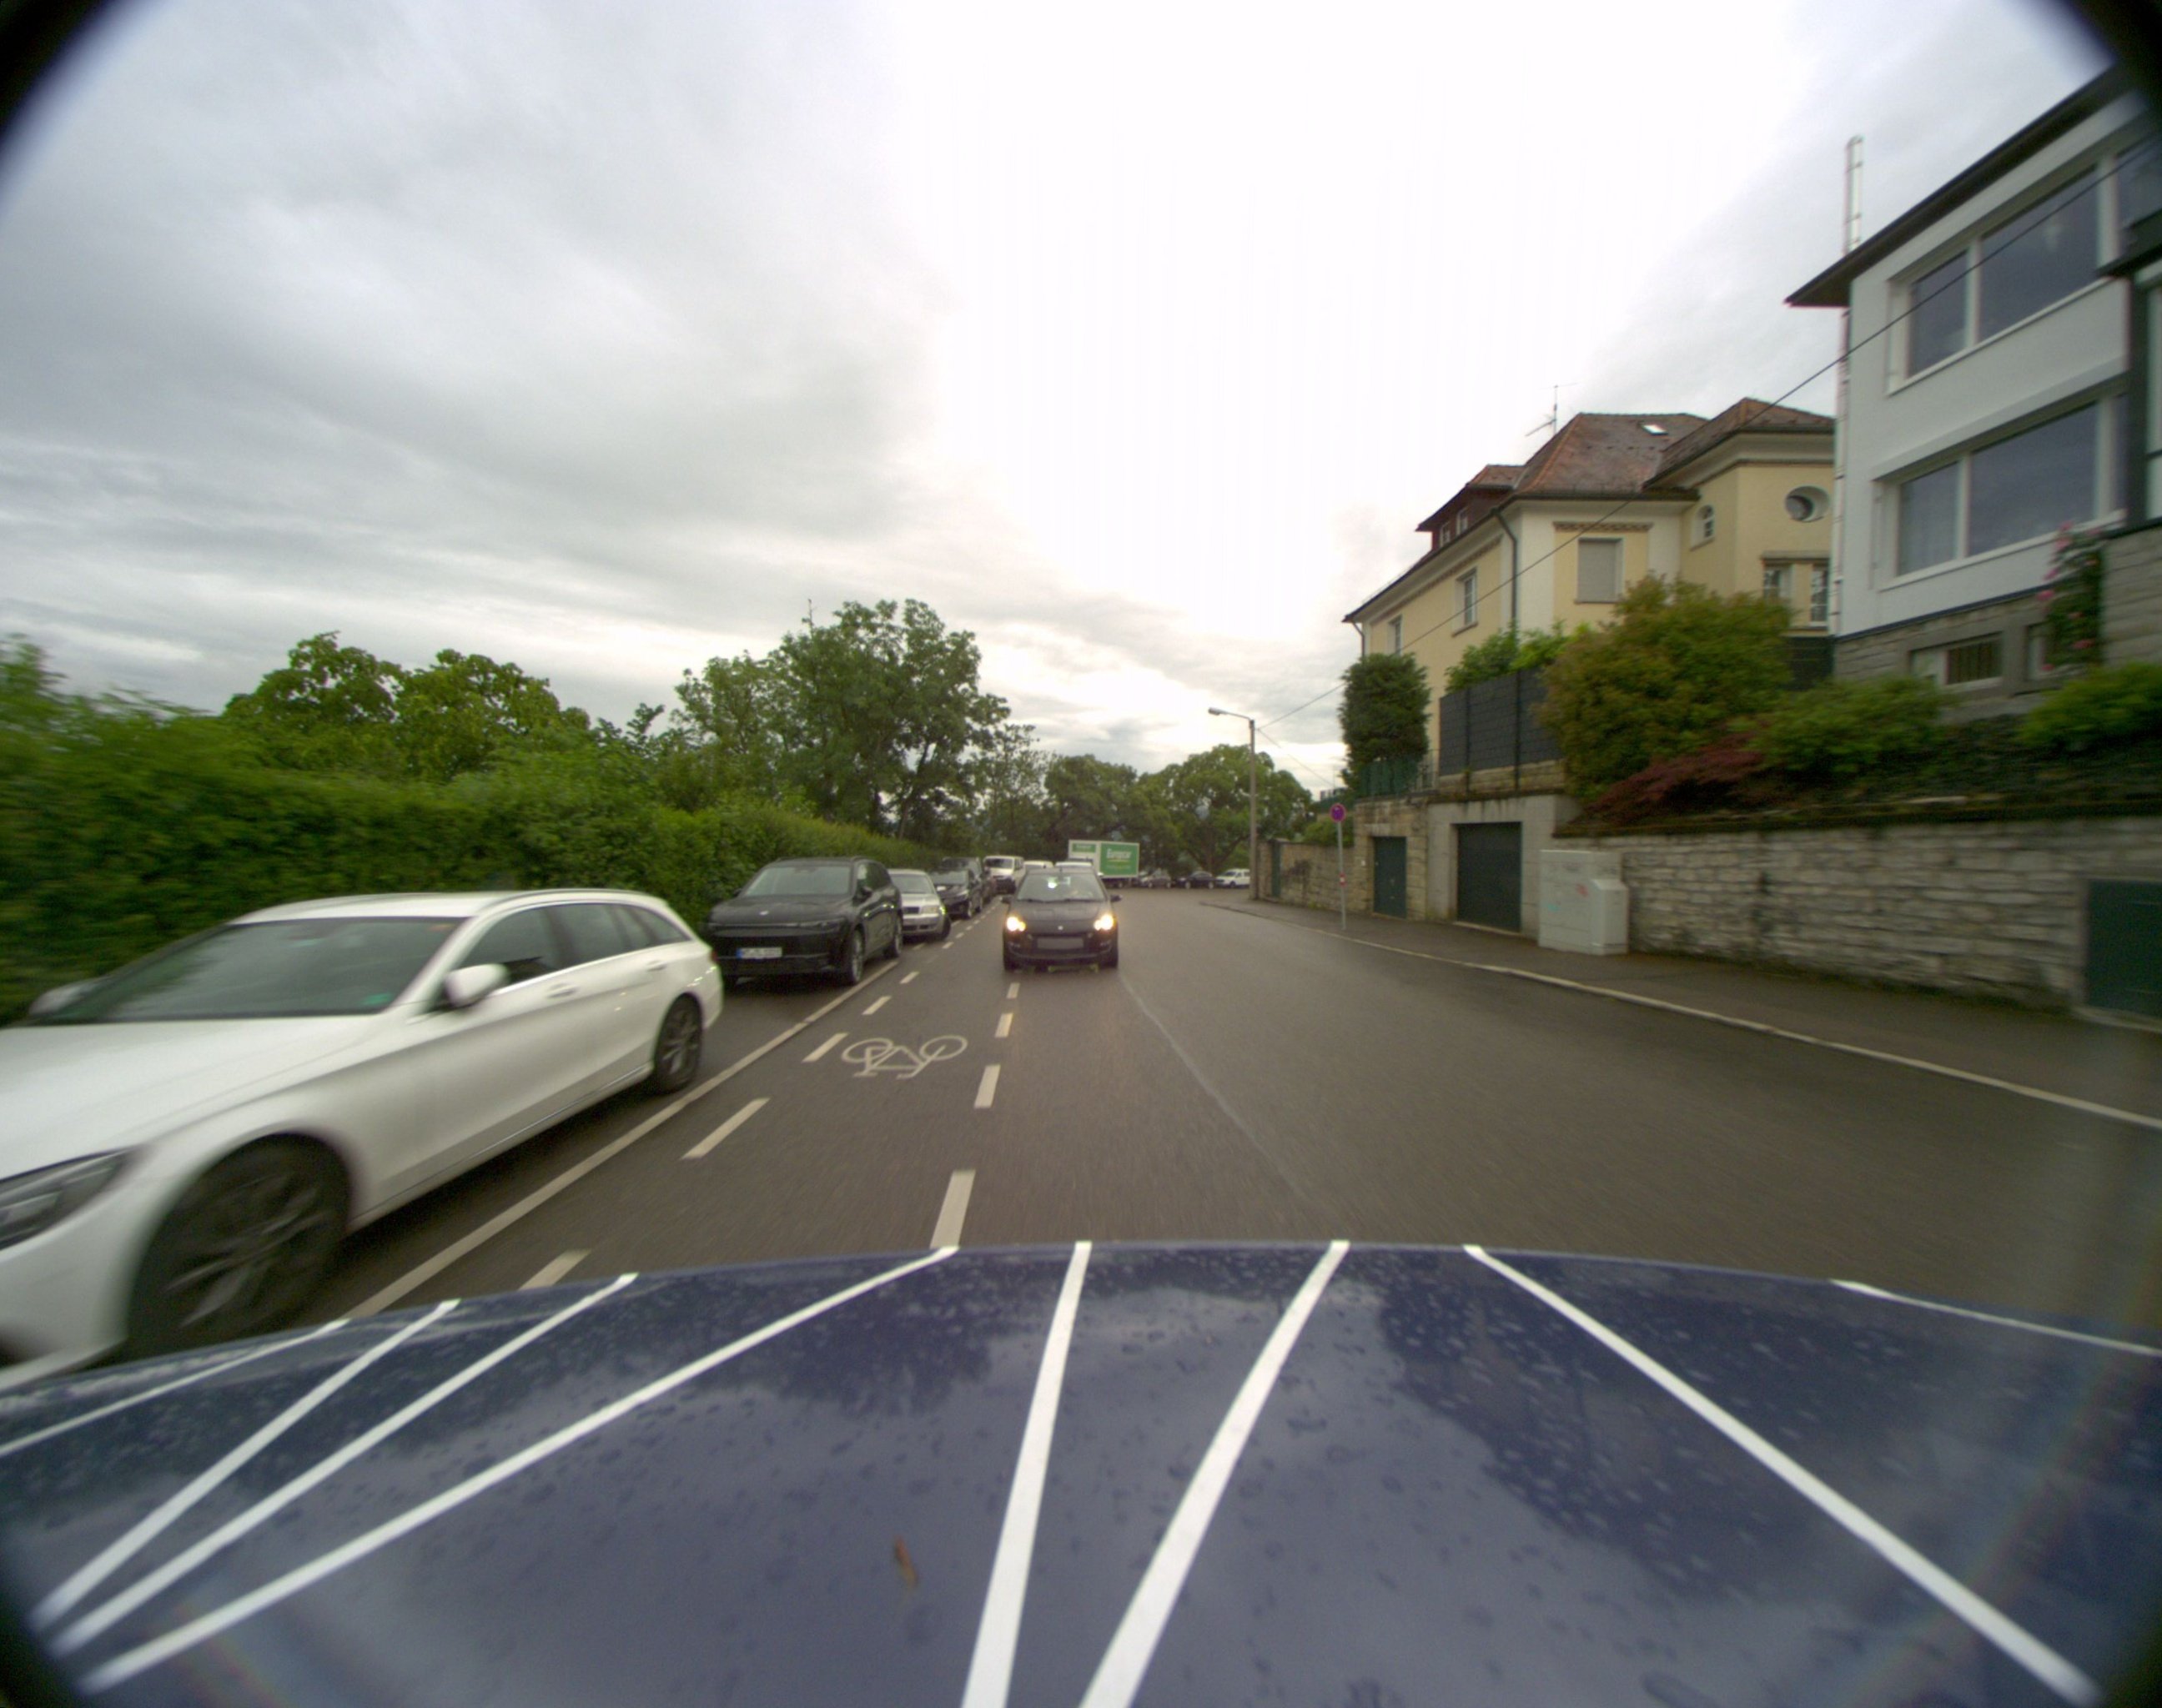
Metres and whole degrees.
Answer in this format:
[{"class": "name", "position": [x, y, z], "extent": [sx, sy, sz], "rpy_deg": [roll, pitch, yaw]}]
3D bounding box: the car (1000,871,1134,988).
[{"class": "car", "position": [-0.291, 1.059, 12.432], "extent": [1.784, 1.477, 4.404], "rpy_deg": [-1, -1, -3]}]

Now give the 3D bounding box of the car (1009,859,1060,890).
[{"class": "car", "position": [-2.769, 1.215, 46.121], "extent": [1.862, 1.760, 4.385], "rpy_deg": [0, -1, 14]}]

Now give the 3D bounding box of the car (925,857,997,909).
[{"class": "car", "position": [-4.375, 1.042, 28.444], "extent": [2.032, 1.772, 4.899], "rpy_deg": [0, -1, -1]}]

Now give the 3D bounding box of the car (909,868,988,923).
[{"class": "car", "position": [-3.865, 1.170, 22.733], "extent": [1.693, 1.414, 3.983], "rpy_deg": [0, 0, 0]}]

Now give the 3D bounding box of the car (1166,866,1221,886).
[{"class": "car", "position": [9.762, 1.903, 65.788], "extent": [4.906, 1.533, 1.860], "rpy_deg": [3, 0, -41]}]

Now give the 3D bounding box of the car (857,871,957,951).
[{"class": "car", "position": [-3.862, 1.109, 16.507], "extent": [1.806, 1.431, 4.636], "rpy_deg": [-1, -1, -15]}]

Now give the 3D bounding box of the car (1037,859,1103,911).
[{"class": "car", "position": [-0.319, 1.066, 27.661], "extent": [2.191, 1.698, 4.883], "rpy_deg": [-1, -1, 1]}]

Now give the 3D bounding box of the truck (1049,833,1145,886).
[{"class": "truck", "position": [1.361, 0.456, 55.348], "extent": [2.774, 3.450, 8.953], "rpy_deg": [3, 0, 31]}]

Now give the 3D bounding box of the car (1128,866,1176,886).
[{"class": "car", "position": [5.802, 1.806, 61.914], "extent": [1.734, 1.494, 4.146], "rpy_deg": [3, 0, 42]}]

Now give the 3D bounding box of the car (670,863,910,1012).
[{"class": "car", "position": [-3.869, 0.991, 11.047], "extent": [1.892, 1.653, 4.547], "rpy_deg": [-1, 0, -3]}]

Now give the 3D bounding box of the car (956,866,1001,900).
[{"class": "car", "position": [-4.551, 1.269, 34.222], "extent": [1.676, 1.405, 3.741], "rpy_deg": [0, -1, -3]}]

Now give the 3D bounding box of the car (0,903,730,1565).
[{"class": "car", "position": [-3.587, 1.081, 3.714], "extent": [1.718, 1.397, 4.607], "rpy_deg": [-1, -1, -2]}]

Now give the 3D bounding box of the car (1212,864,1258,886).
[{"class": "car", "position": [14.148, 1.936, 69.694], "extent": [4.434, 1.810, 1.747], "rpy_deg": [3, 0, -40]}]

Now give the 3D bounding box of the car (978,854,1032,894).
[{"class": "car", "position": [-3.967, 1.046, 40.321], "extent": [1.863, 1.936, 4.810], "rpy_deg": [2, -1, 6]}]
